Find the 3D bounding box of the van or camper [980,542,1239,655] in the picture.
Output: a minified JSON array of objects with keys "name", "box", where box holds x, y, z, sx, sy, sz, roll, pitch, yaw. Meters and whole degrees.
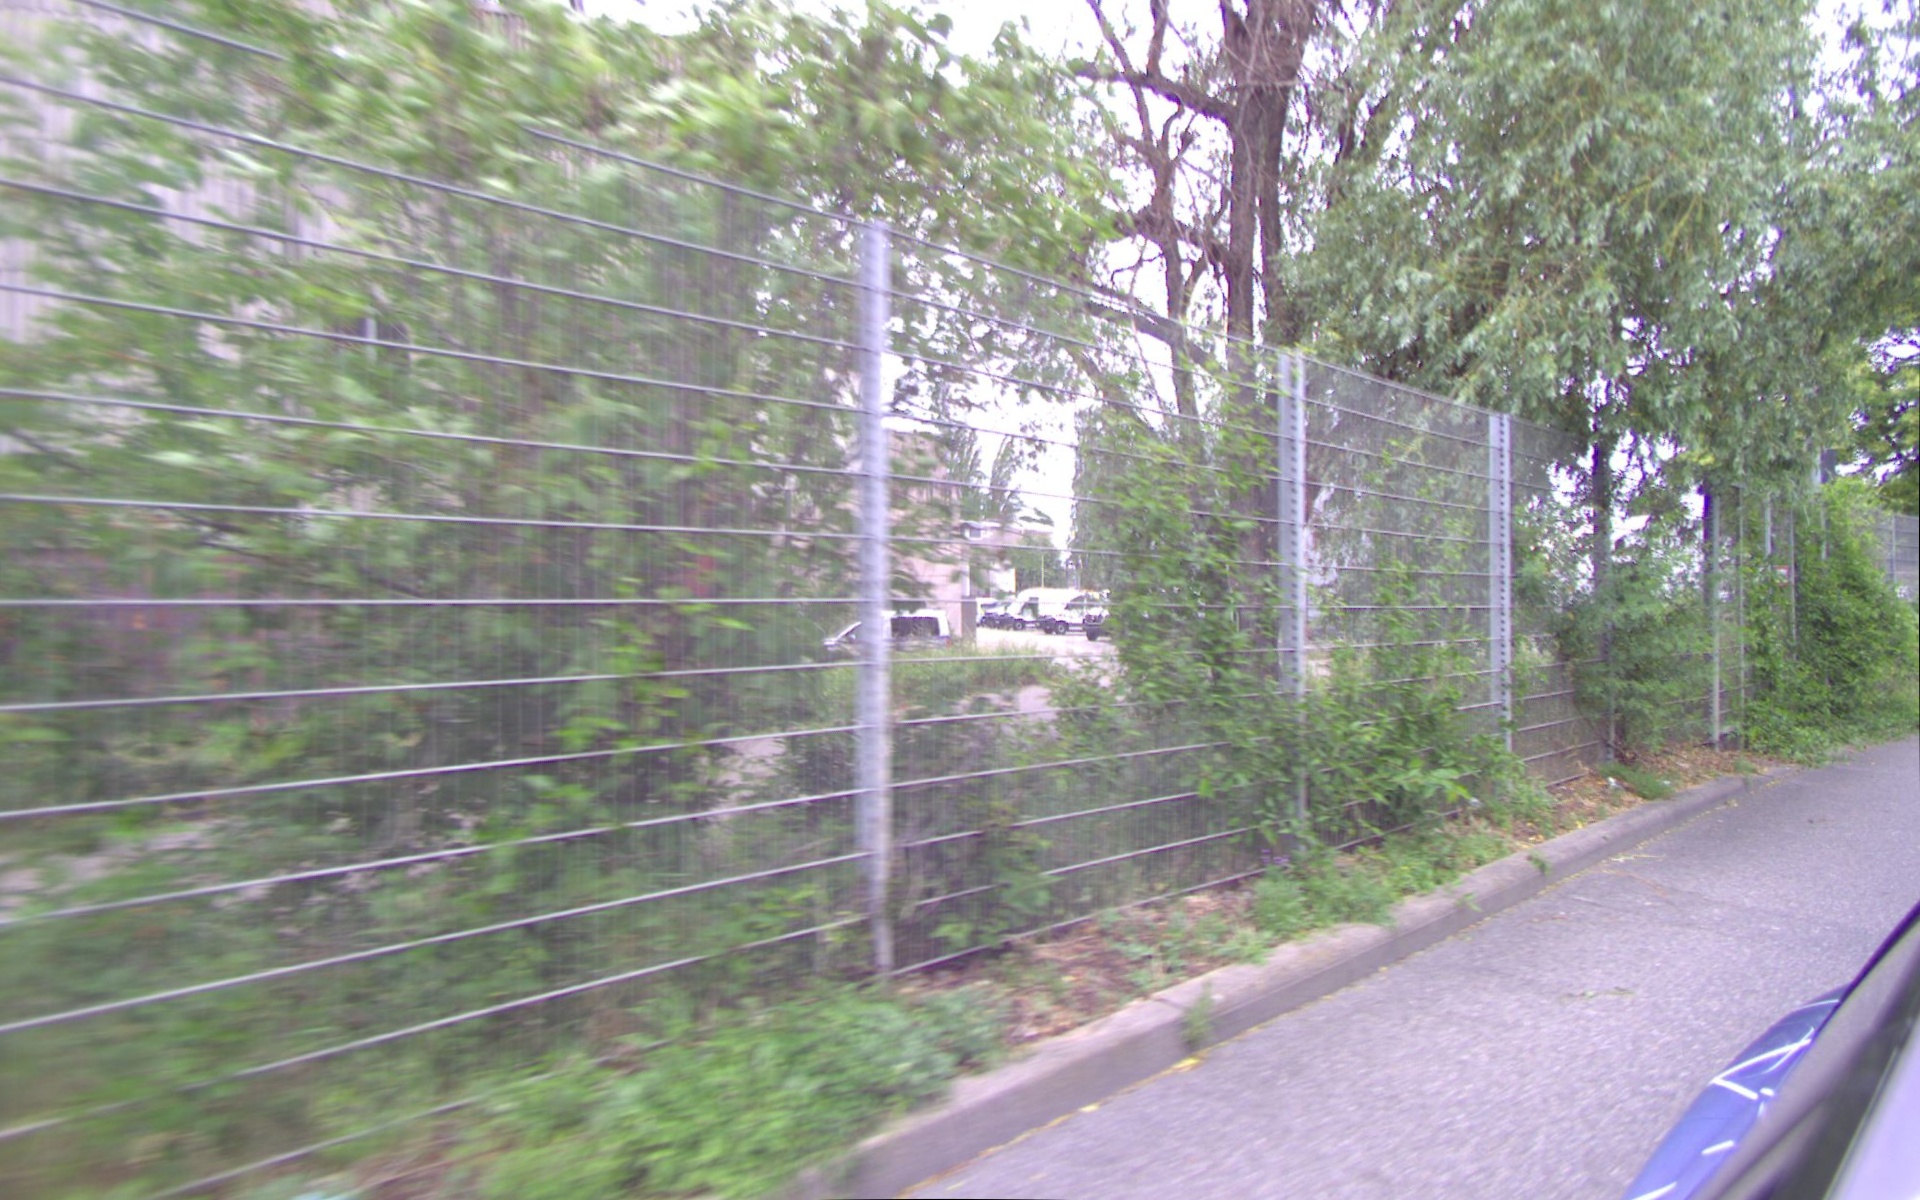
[{"name":"van or camper","box":[6.652,-0.125,47.832,5.383,4.587,11.844,-2,1,-35]}]
